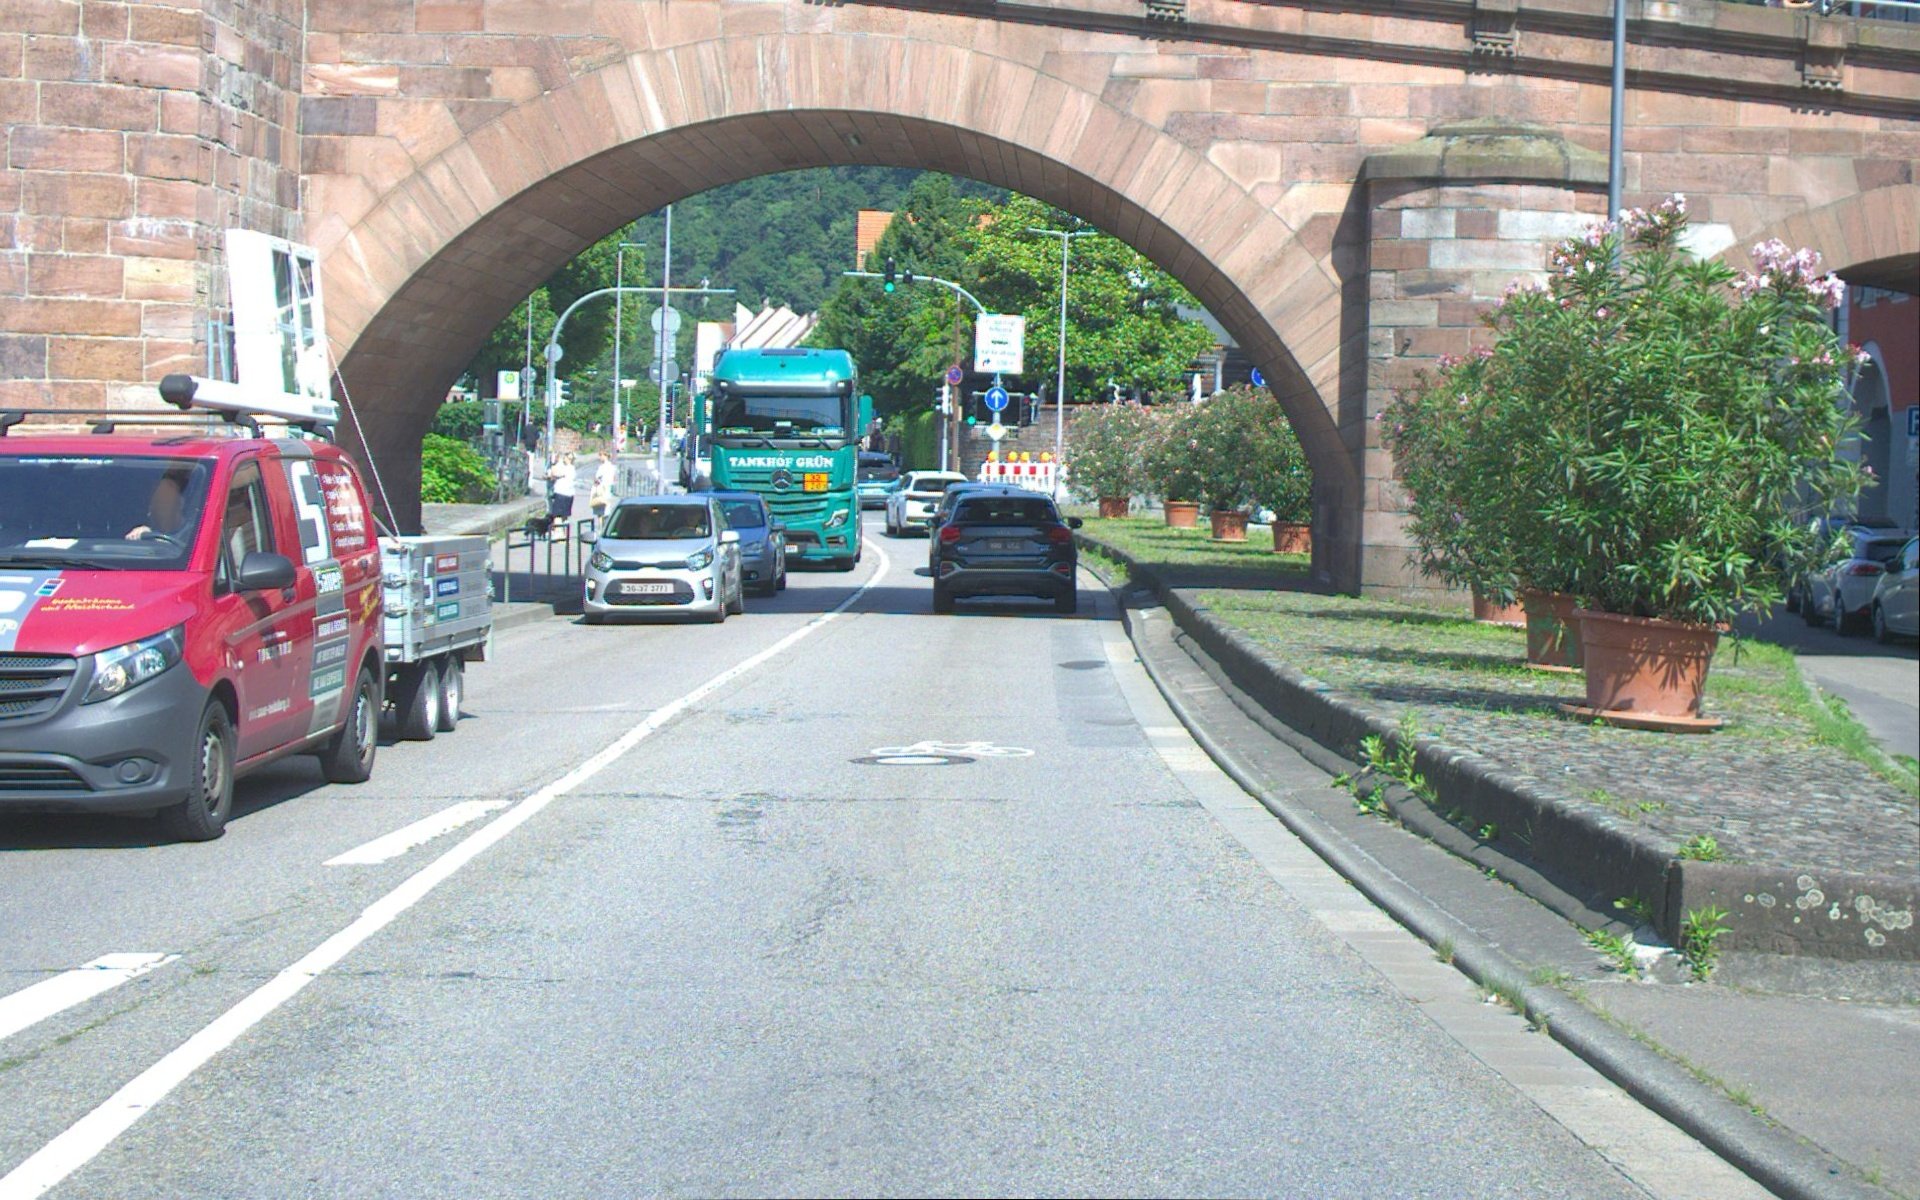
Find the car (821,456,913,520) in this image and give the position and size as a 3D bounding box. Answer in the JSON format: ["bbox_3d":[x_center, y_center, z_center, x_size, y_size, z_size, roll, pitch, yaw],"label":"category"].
[{"bbox_3d":[-2.581,-3.056,94.379,1.993,1.656,4.001,1,1,-9],"label":"car"}]

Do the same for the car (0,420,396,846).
[{"bbox_3d":[-4.190,0.065,17.023,1.874,1.821,4.544,0,2,2],"label":"car"}]

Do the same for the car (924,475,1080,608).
[{"bbox_3d":[0.540,-0.778,43.301,1.857,1.518,4.001,1,3,1],"label":"car"}]

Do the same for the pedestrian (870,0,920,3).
[{"bbox_3d":[-0.764,-8.119,40.693,0.581,2.007,0.586,1,1,2],"label":"pedestrian"}]

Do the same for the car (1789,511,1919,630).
[{"bbox_3d":[12.698,-0.438,47.047,1.893,1.487,4.416,1,2,4],"label":"car"}]

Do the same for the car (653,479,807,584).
[{"bbox_3d":[-3.248,-0.995,49.273,1.723,1.432,4.400,0,2,3],"label":"car"}]

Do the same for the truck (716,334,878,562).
[{"bbox_3d":[-2.759,-2.673,59.737,2.523,3.735,6.247,0,3,0],"label":"truck"}]

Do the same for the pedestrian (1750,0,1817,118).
[{"bbox_3d":[10.229,-7.027,42.700,0.684,2.007,0.586,1,1,2],"label":"pedestrian"}]

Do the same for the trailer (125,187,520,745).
[{"bbox_3d":[-4.010,-0.843,22.147,1.742,3.309,3.384,0,2,3],"label":"trailer"}]

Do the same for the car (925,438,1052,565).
[{"bbox_3d":[0.433,-1.621,56.953,1.993,2.007,4.000,1,2,-1],"label":"car"}]

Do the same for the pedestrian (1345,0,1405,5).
[{"bbox_3d":[4.588,-7.599,37.786,0.623,2.007,0.695,1,1,2],"label":"pedestrian"}]

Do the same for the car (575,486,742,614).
[{"bbox_3d":[-3.510,-0.623,40.572,1.535,1.432,3.728,0,2,2],"label":"car"}]

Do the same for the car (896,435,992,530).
[{"bbox_3d":[-0.386,-2.594,76.289,1.993,2.007,4.001,1,2,-2],"label":"car"}]
